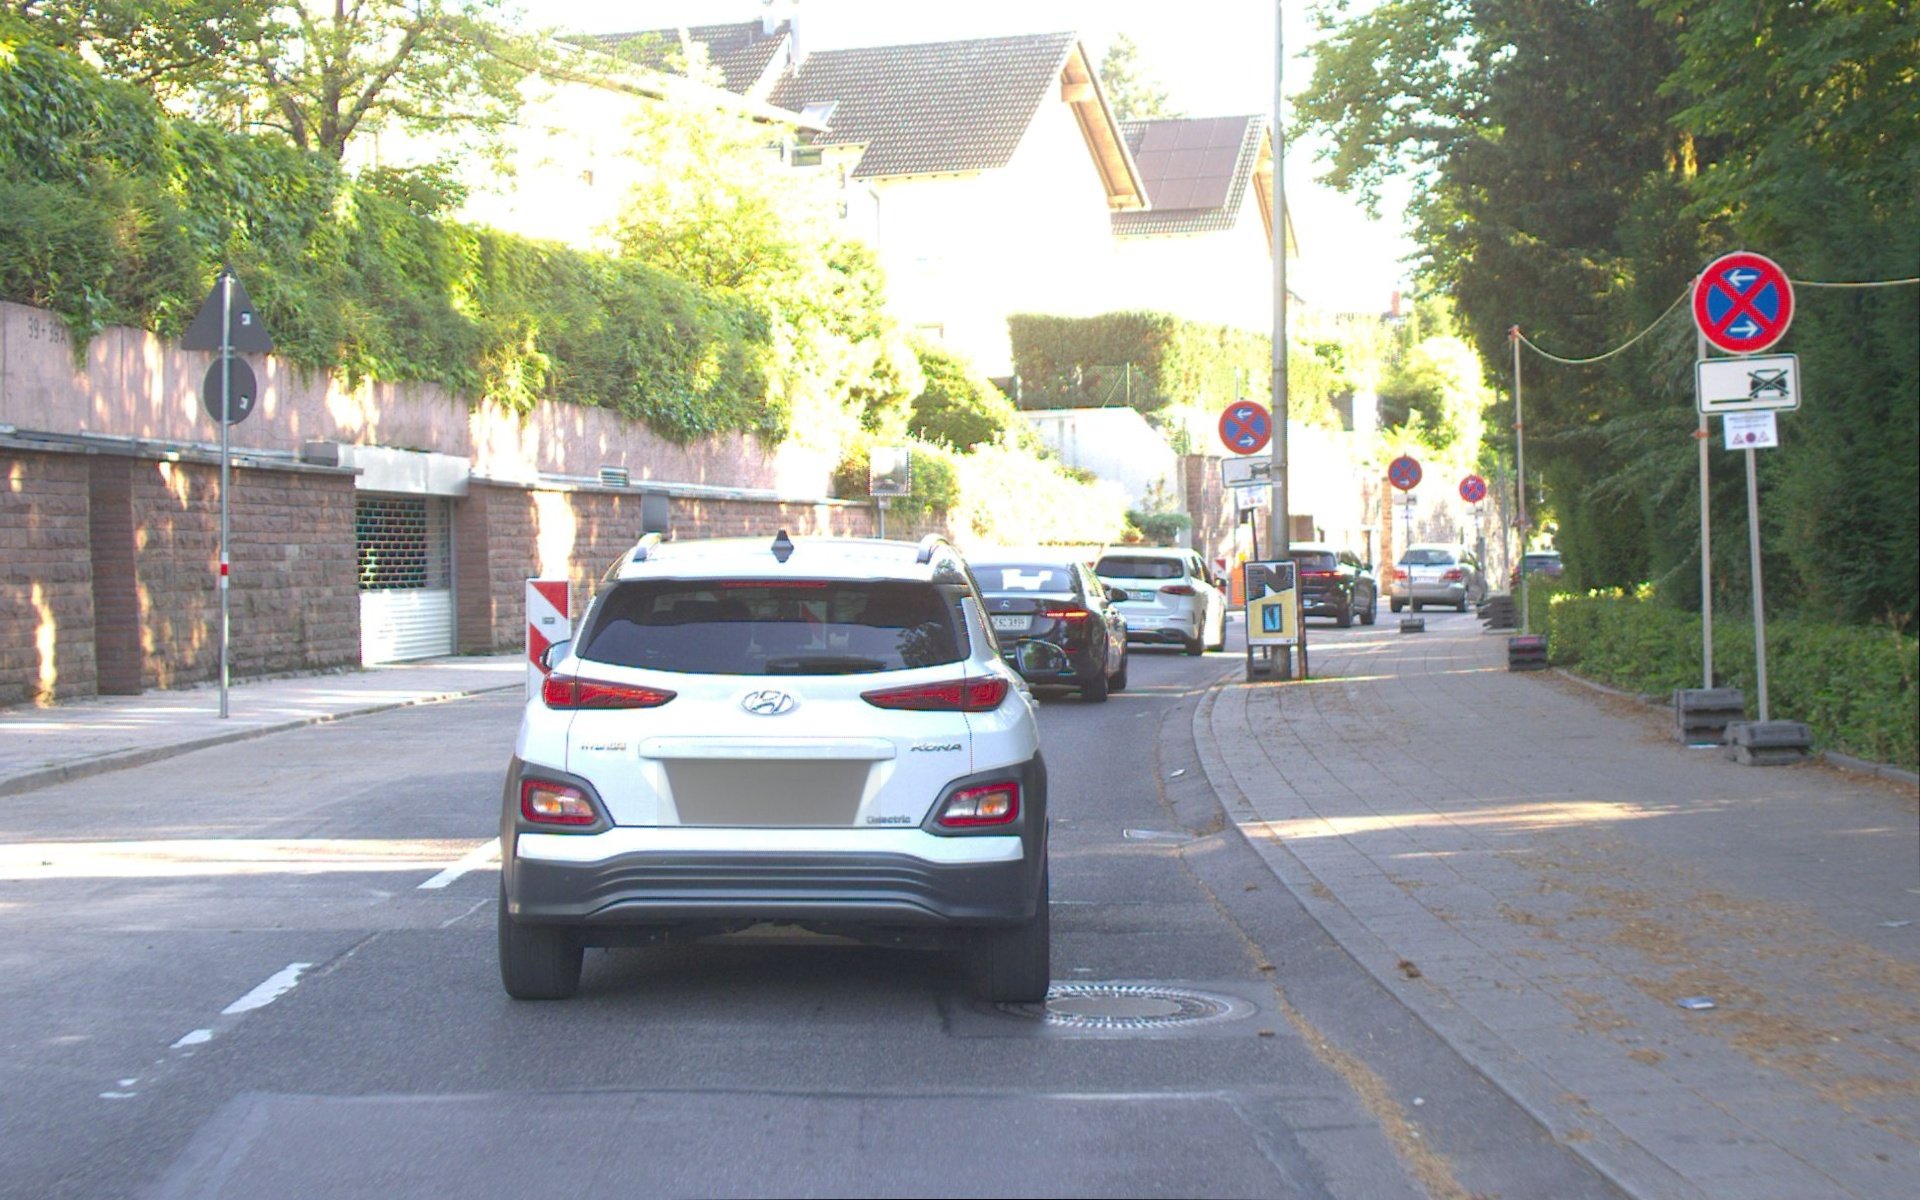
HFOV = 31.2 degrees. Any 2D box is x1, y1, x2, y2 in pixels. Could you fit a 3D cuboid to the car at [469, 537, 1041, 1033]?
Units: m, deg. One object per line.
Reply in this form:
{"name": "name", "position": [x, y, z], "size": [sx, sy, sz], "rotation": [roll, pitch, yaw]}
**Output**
{"name": "car", "position": [-0.665, 0.540, 12.663], "size": [1.772, 1.537, 4.000], "rotation": [0, 1, -1]}

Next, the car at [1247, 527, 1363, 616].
{"name": "car", "position": [6.700, -0.570, 66.505], "size": [1.694, 1.528, 3.879], "rotation": [-4, 1, 12]}

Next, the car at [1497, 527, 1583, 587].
{"name": "car", "position": [16.259, -1.219, 96.197], "size": [1.695, 1.499, 3.627], "rotation": [-3, 1, 19]}

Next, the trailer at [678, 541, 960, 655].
{"name": "trailer", "position": [-1.891, -0.069, 49.493], "size": [2.641, 1.484, 7.116], "rotation": [1, 1, 9]}

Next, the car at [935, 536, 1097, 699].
{"name": "car", "position": [0.540, 0.138, 34.354], "size": [1.512, 1.528, 3.548], "rotation": [-1, 1, 0]}

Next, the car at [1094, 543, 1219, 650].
{"name": "car", "position": [2.861, -0.079, 49.594], "size": [1.571, 1.472, 3.547], "rotation": [1, 1, 7]}

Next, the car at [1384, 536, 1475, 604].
{"name": "car", "position": [11.084, -0.722, 81.020], "size": [1.694, 1.442, 3.879], "rotation": [-3, 1, 13]}
